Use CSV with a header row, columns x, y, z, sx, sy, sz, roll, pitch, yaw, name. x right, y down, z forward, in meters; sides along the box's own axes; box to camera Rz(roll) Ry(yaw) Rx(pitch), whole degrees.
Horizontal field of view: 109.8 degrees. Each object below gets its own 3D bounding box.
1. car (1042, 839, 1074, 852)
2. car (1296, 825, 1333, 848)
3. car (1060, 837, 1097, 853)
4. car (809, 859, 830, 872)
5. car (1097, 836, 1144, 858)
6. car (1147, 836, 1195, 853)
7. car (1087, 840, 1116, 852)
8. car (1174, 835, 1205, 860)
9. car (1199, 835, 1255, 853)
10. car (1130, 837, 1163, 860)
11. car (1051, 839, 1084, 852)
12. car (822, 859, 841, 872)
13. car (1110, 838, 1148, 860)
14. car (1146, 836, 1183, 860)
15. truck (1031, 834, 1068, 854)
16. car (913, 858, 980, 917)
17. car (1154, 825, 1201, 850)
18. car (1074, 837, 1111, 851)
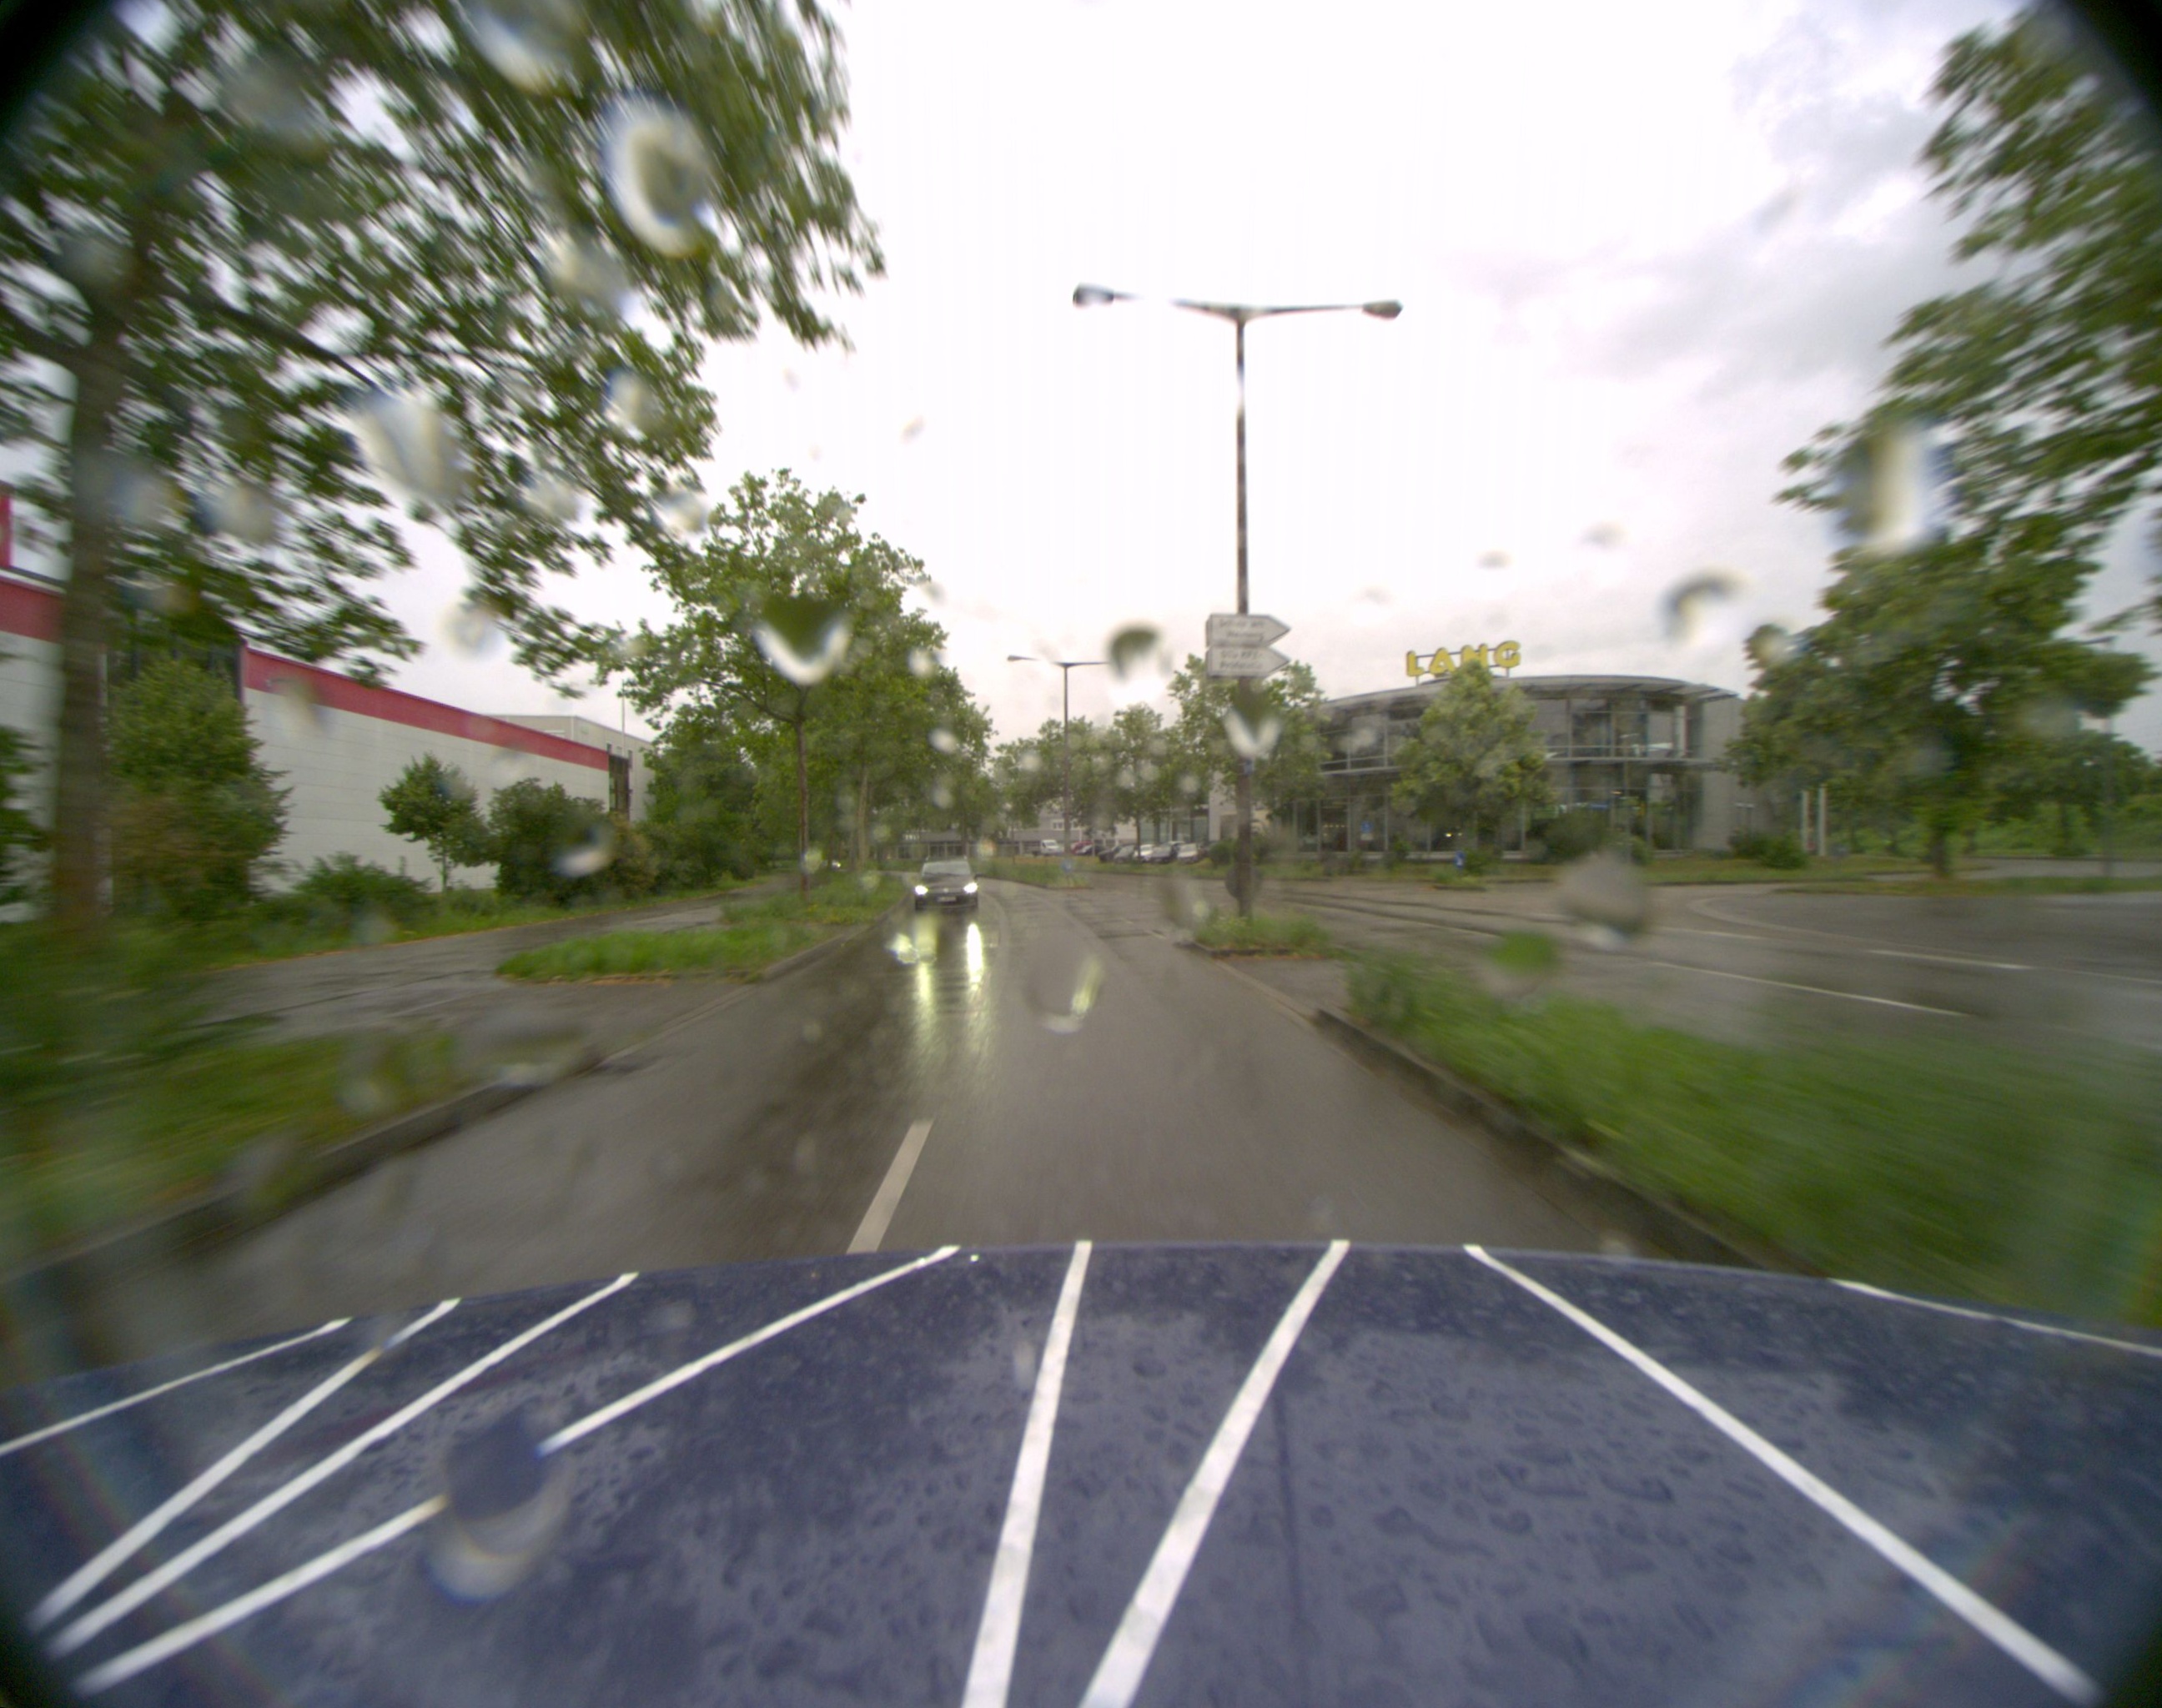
x,y,z,sx,sy,sz,roll,pitch,yaw,name
-2.934,-1.055,97.254,3.538,1.319,1.764,-5,2,-30,car
16.393,-1.218,53.535,1.782,1.467,4.114,-2,1,7,car
-0.323,-1.099,92.980,4.014,1.548,1.843,-5,2,-30,car
-33.131,1.466,96.343,1.788,1.547,3.990,-2,1,-29,car
3.996,-0.729,76.351,4.432,1.549,1.846,-8,4,4,car
8.860,-0.957,74.410,4.443,1.465,1.915,-2,1,-32,car
2.867,-1.121,106.408,1.771,1.389,4.146,-4,0,-36,car
8.834,-0.527,61.750,1.782,1.468,4.001,-7,4,16,car
12.804,-0.878,66.802,4.434,1.465,1.919,-2,1,-5,car
6.050,-0.560,69.675,1.844,1.471,4.132,-7,4,21,car
-1.684,-1.010,95.101,3.538,1.319,1.764,-5,2,-30,car
-33.888,1.540,103.039,1.788,1.547,3.991,-2,1,-27,car
4.582,-0.504,72.294,1.843,1.471,4.133,-6,4,29,car
7.247,-0.529,65.564,1.844,1.415,4.132,-7,4,25,car
-4.263,-1.285,101.581,2.257,2.331,6.181,-5,1,-29,truck
-3.961,0.931,22.873,1.785,1.547,3.997,-1,1,-8,car
11.821,-2.051,92.933,5.330,2.737,2.172,-3,2,12,car
1.403,-1.168,90.733,4.014,1.350,1.843,-5,2,-30,car
